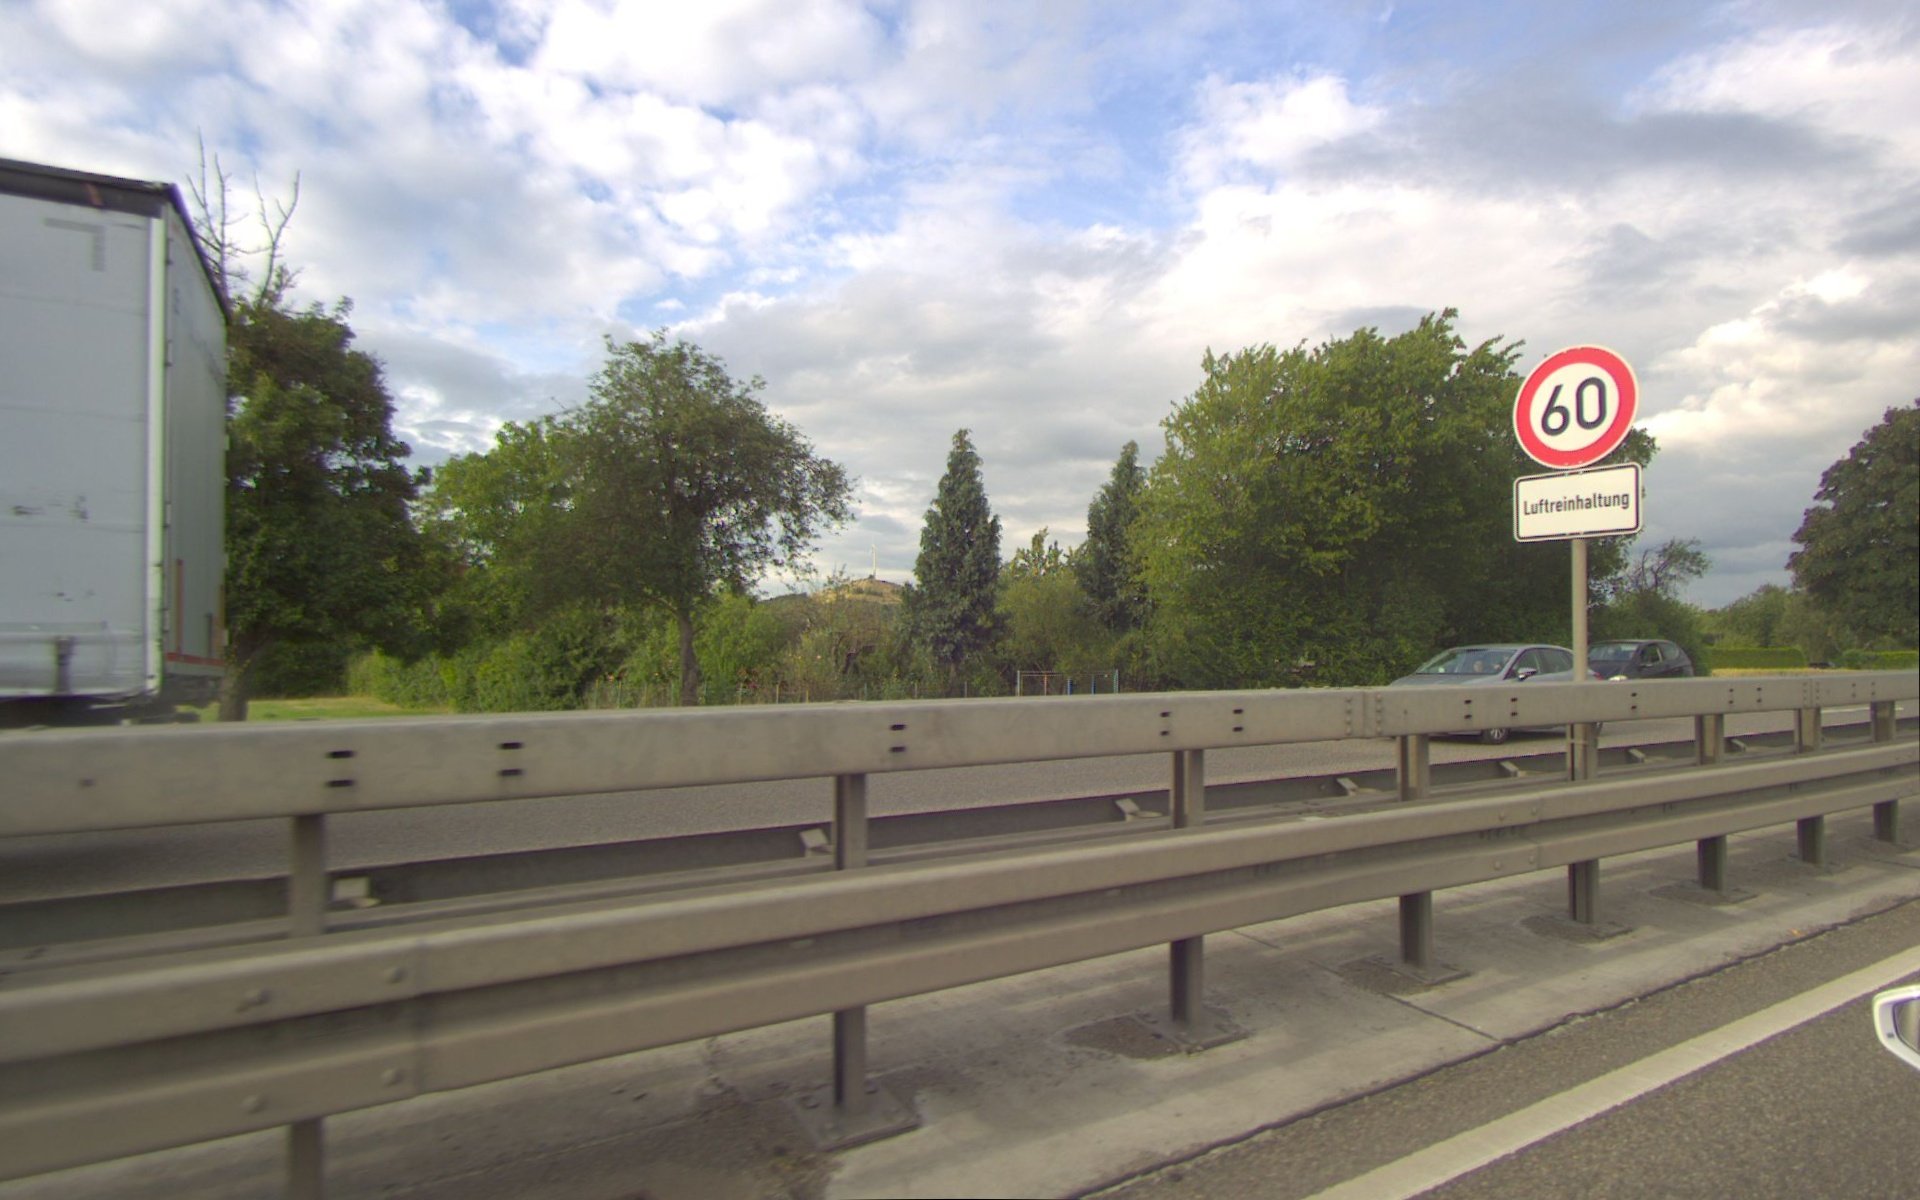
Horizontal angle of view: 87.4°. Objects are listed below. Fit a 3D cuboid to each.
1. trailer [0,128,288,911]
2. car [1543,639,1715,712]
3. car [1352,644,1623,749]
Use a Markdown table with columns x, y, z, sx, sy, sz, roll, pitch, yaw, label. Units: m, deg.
| x | y | z | sx | sy | sz | roll | pitch | yaw | label |
| --- | --- | --- | --- | --- | --- | --- | --- | --- | --- |
| -11.032 | -0.490 | 3.846 | 13.755 | 4.204 | 3.449 | 1 | -4 | -31 | trailer |
| 15.838 | 1.716 | 23.747 | 4.112 | 1.594 | 1.780 | 1 | -3 | -31 | car |
| 8.102 | 1.384 | 15.359 | 4.112 | 1.404 | 1.780 | 1 | -3 | -31 | car |
